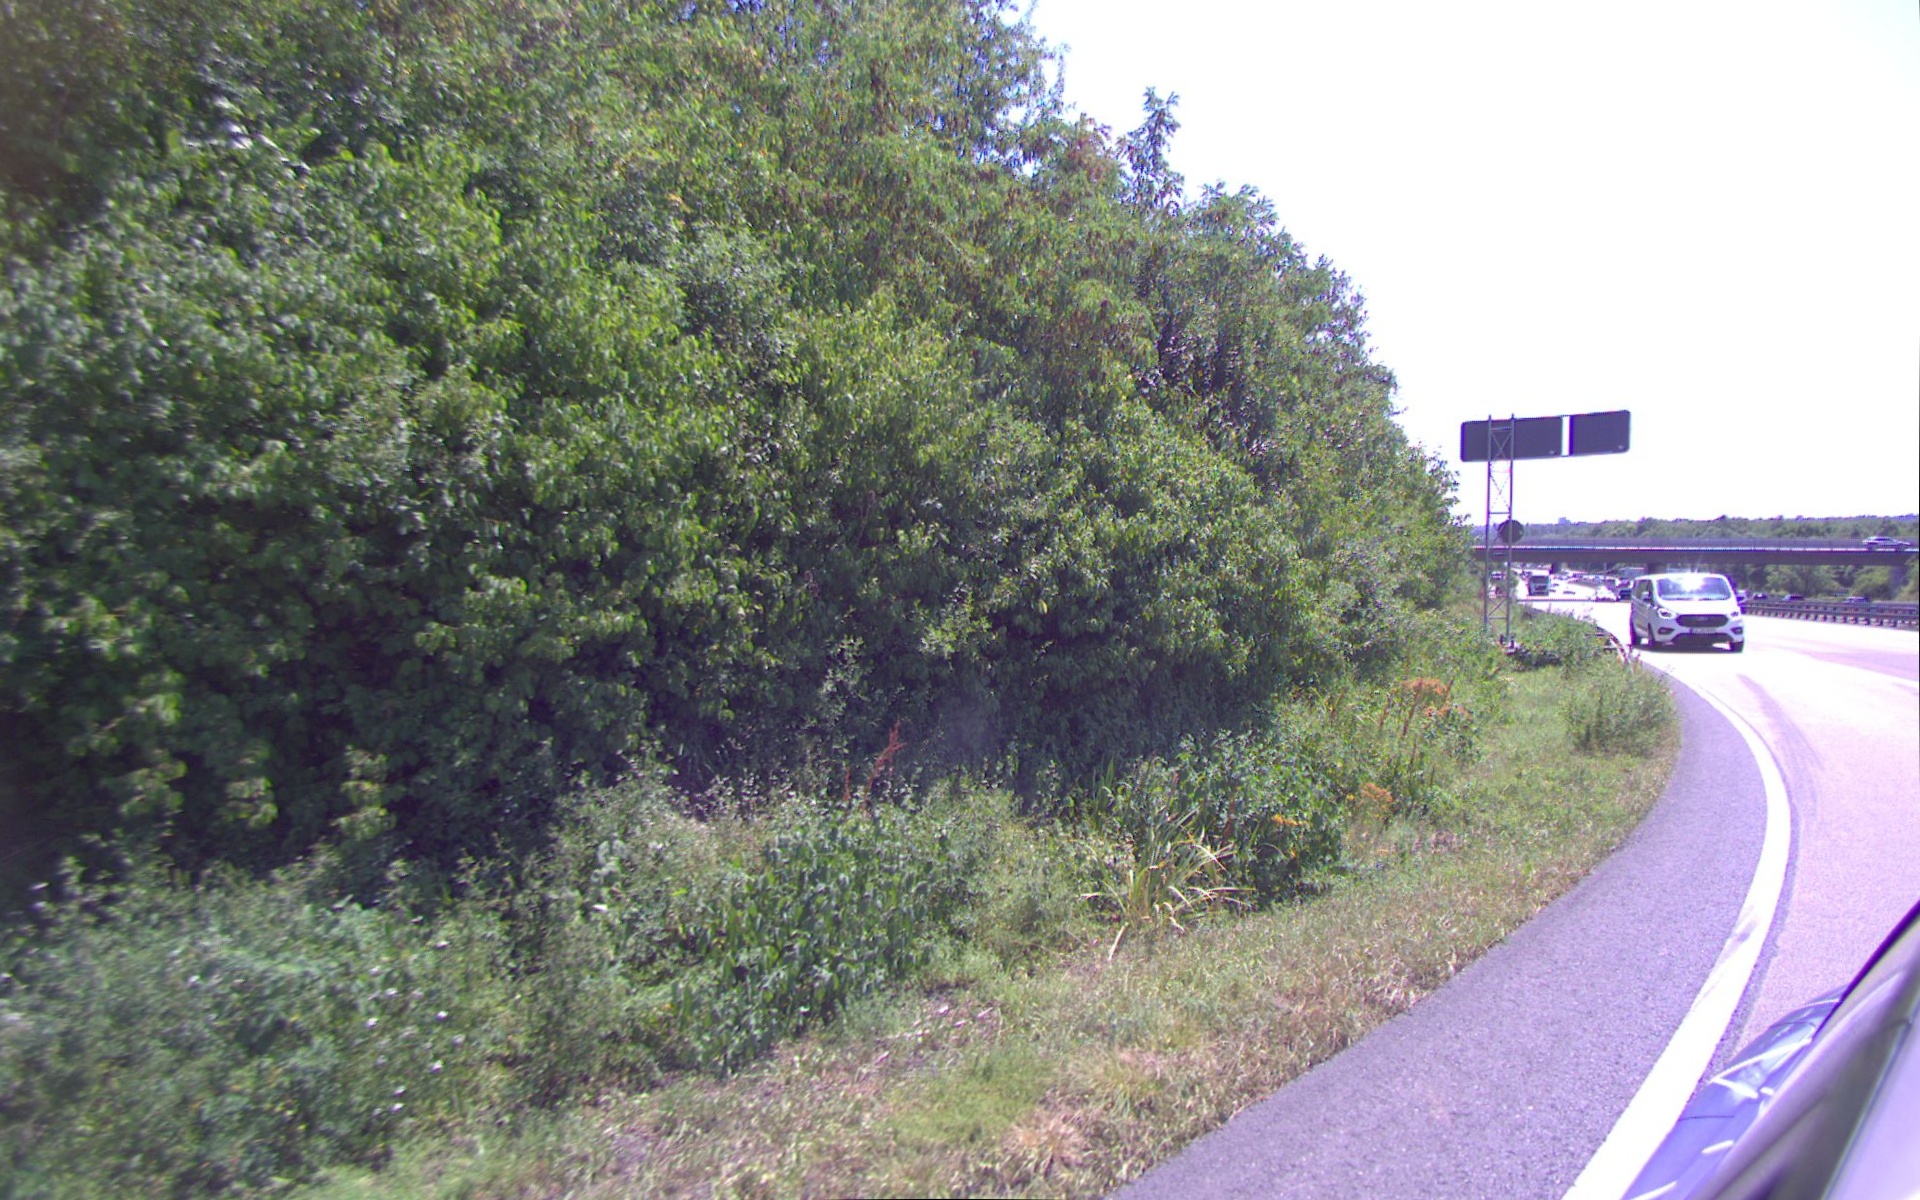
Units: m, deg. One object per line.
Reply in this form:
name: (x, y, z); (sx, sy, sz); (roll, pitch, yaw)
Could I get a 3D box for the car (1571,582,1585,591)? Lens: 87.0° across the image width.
car: (108.378, -2.355, 177.427); (1.986, 1.446, 3.953); (1, 1, 33)

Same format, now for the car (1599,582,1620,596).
car: (77.541, -1.272, 120.879); (1.984, 1.652, 4.423); (0, 1, 31)

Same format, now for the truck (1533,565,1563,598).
truck: (92.810, -2.890, 159.717); (3.955, 5.014, 6.162); (0, 0, 31)

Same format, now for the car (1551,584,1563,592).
car: (117.419, -2.349, 199.128); (1.984, 1.652, 4.423); (0, 1, 31)

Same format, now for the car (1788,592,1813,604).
car: (104.870, -0.223, 126.307); (1.641, 1.428, 4.425); (0, 1, 30)

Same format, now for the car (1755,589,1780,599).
car: (117.619, -0.875, 147.428); (2.115, 1.530, 4.427); (0, 1, 29)

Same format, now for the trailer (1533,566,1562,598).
trailer: (96.705, -2.936, 166.555); (3.939, 5.014, 15.828); (0, 1, 30)

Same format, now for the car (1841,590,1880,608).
car: (82.927, -0.081, 93.254); (1.702, 1.588, 3.962); (0, 1, 27)

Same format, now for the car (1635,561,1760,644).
car: (19.793, 0.055, 27.388); (2.045, 2.039, 4.990); (-1, 0, 29)

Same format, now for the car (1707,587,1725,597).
car: (121.764, -1.268, 162.965); (1.743, 1.544, 4.427); (0, 1, 29)
